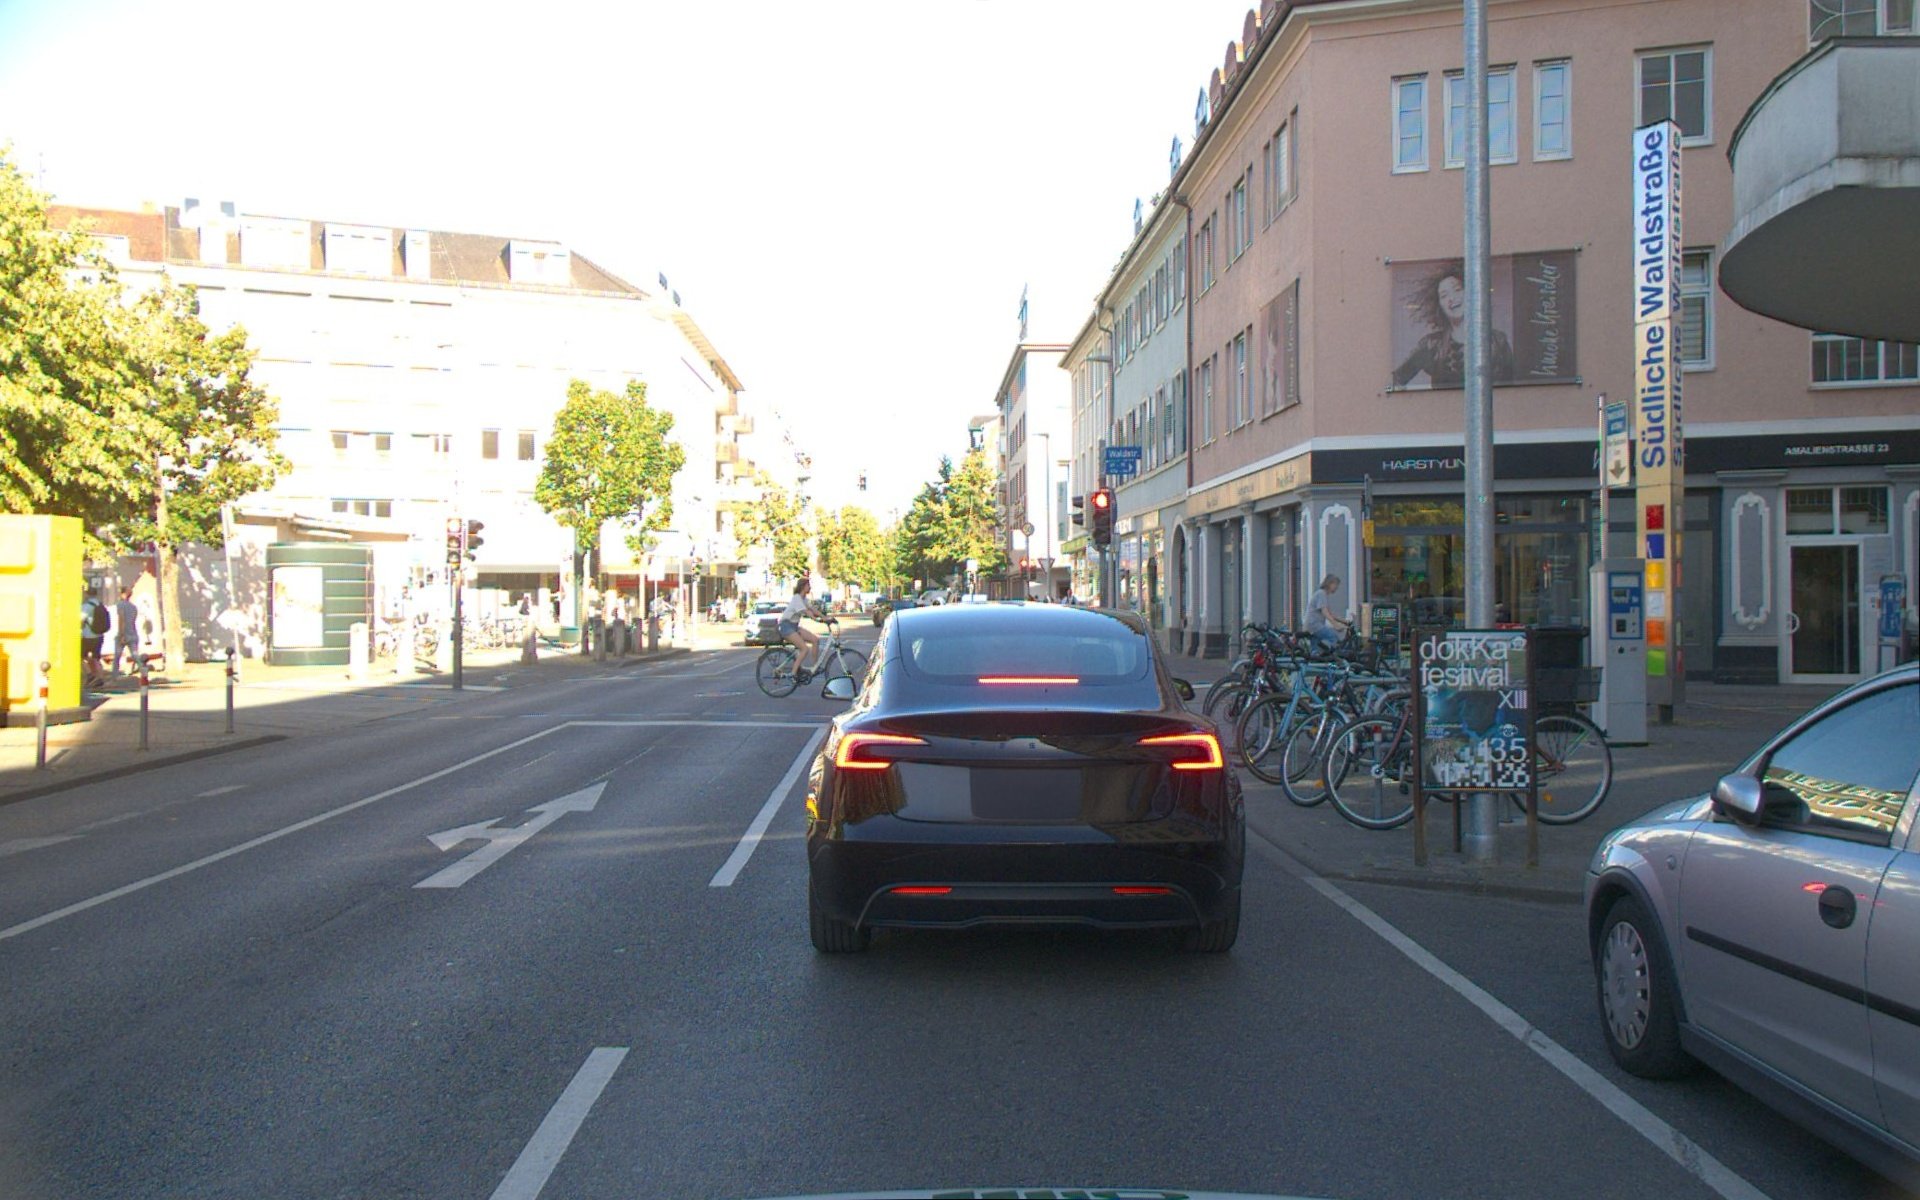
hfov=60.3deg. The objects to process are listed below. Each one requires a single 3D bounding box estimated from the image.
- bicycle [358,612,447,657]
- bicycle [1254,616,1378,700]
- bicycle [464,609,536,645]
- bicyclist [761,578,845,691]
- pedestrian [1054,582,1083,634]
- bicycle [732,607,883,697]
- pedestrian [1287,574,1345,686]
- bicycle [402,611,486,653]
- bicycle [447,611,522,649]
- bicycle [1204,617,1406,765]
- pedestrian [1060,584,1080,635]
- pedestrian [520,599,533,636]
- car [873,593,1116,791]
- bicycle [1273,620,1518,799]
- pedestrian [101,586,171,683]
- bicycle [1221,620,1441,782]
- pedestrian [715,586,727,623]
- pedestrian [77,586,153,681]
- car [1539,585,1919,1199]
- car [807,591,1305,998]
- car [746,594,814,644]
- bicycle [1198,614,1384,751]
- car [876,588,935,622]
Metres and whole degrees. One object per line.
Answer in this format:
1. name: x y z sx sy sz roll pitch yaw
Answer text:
1. bicycle: -14.456 0.893 42.905 2.040 1.123 0.806 0 0 -1
2. bicycle: 4.736 0.759 22.022 1.581 1.063 0.591 1 0 12
3. bicycle: -14.572 0.854 52.391 2.040 1.123 0.806 0 0 -1
4. bicyclist: -2.299 0.493 24.217 1.074 1.617 0.629 0 0 15
5. pedestrian: 3.946 0.275 60.120 0.979 1.883 0.615 0 0 -1
6. bicycle: -2.233 0.760 24.206 2.080 1.221 0.629 -3 -1 15
7. pedestrian: 4.735 0.390 22.024 0.727 1.466 0.583 1 0 11
8. bicycle: -14.162 0.880 45.429 2.040 1.123 0.806 0 0 -1
9. bicycle: -14.429 0.896 50.200 2.040 1.123 0.806 0 0 -1
10. bicycle: 2.924 0.765 14.073 1.595 1.180 0.432 -2 0 -2
11. pedestrian: 4.002 0.341 60.057 0.689 1.814 0.533 0 0 -1
12. pedestrian: -16.128 0.661 61.579 0.412 1.363 0.393 0 0 -8
13. car: 0.259 0.683 14.269 1.812 1.480 3.786 0 0 0
14. bicycle: 3.075 0.761 11.726 1.595 1.180 0.432 -2 0 -2
15. pedestrian: -15.184 0.632 30.486 0.882 1.755 0.744 0 0 3
16. bicycle: 2.891 0.778 12.938 1.595 1.180 0.432 -2 0 -2
17. pedestrian: -13.349 0.272 92.451 0.613 2.049 0.575 0 0 -1
18. pedestrian: -15.179 0.592 29.714 0.966 1.665 0.737 0 0 3
19. car: 2.906 0.679 4.092 1.588 1.419 3.886 0 0 0
20. car: 0.353 0.704 7.923 1.812 1.480 3.786 0 0 0
21. car: -6.299 0.635 58.257 1.953 1.567 3.999 -3 0 -1
22. bicycle: 3.042 0.752 15.246 1.594 1.180 0.433 -2 0 0
23. car: -2.926 0.239 87.638 2.018 1.757 4.631 0 0 -17
